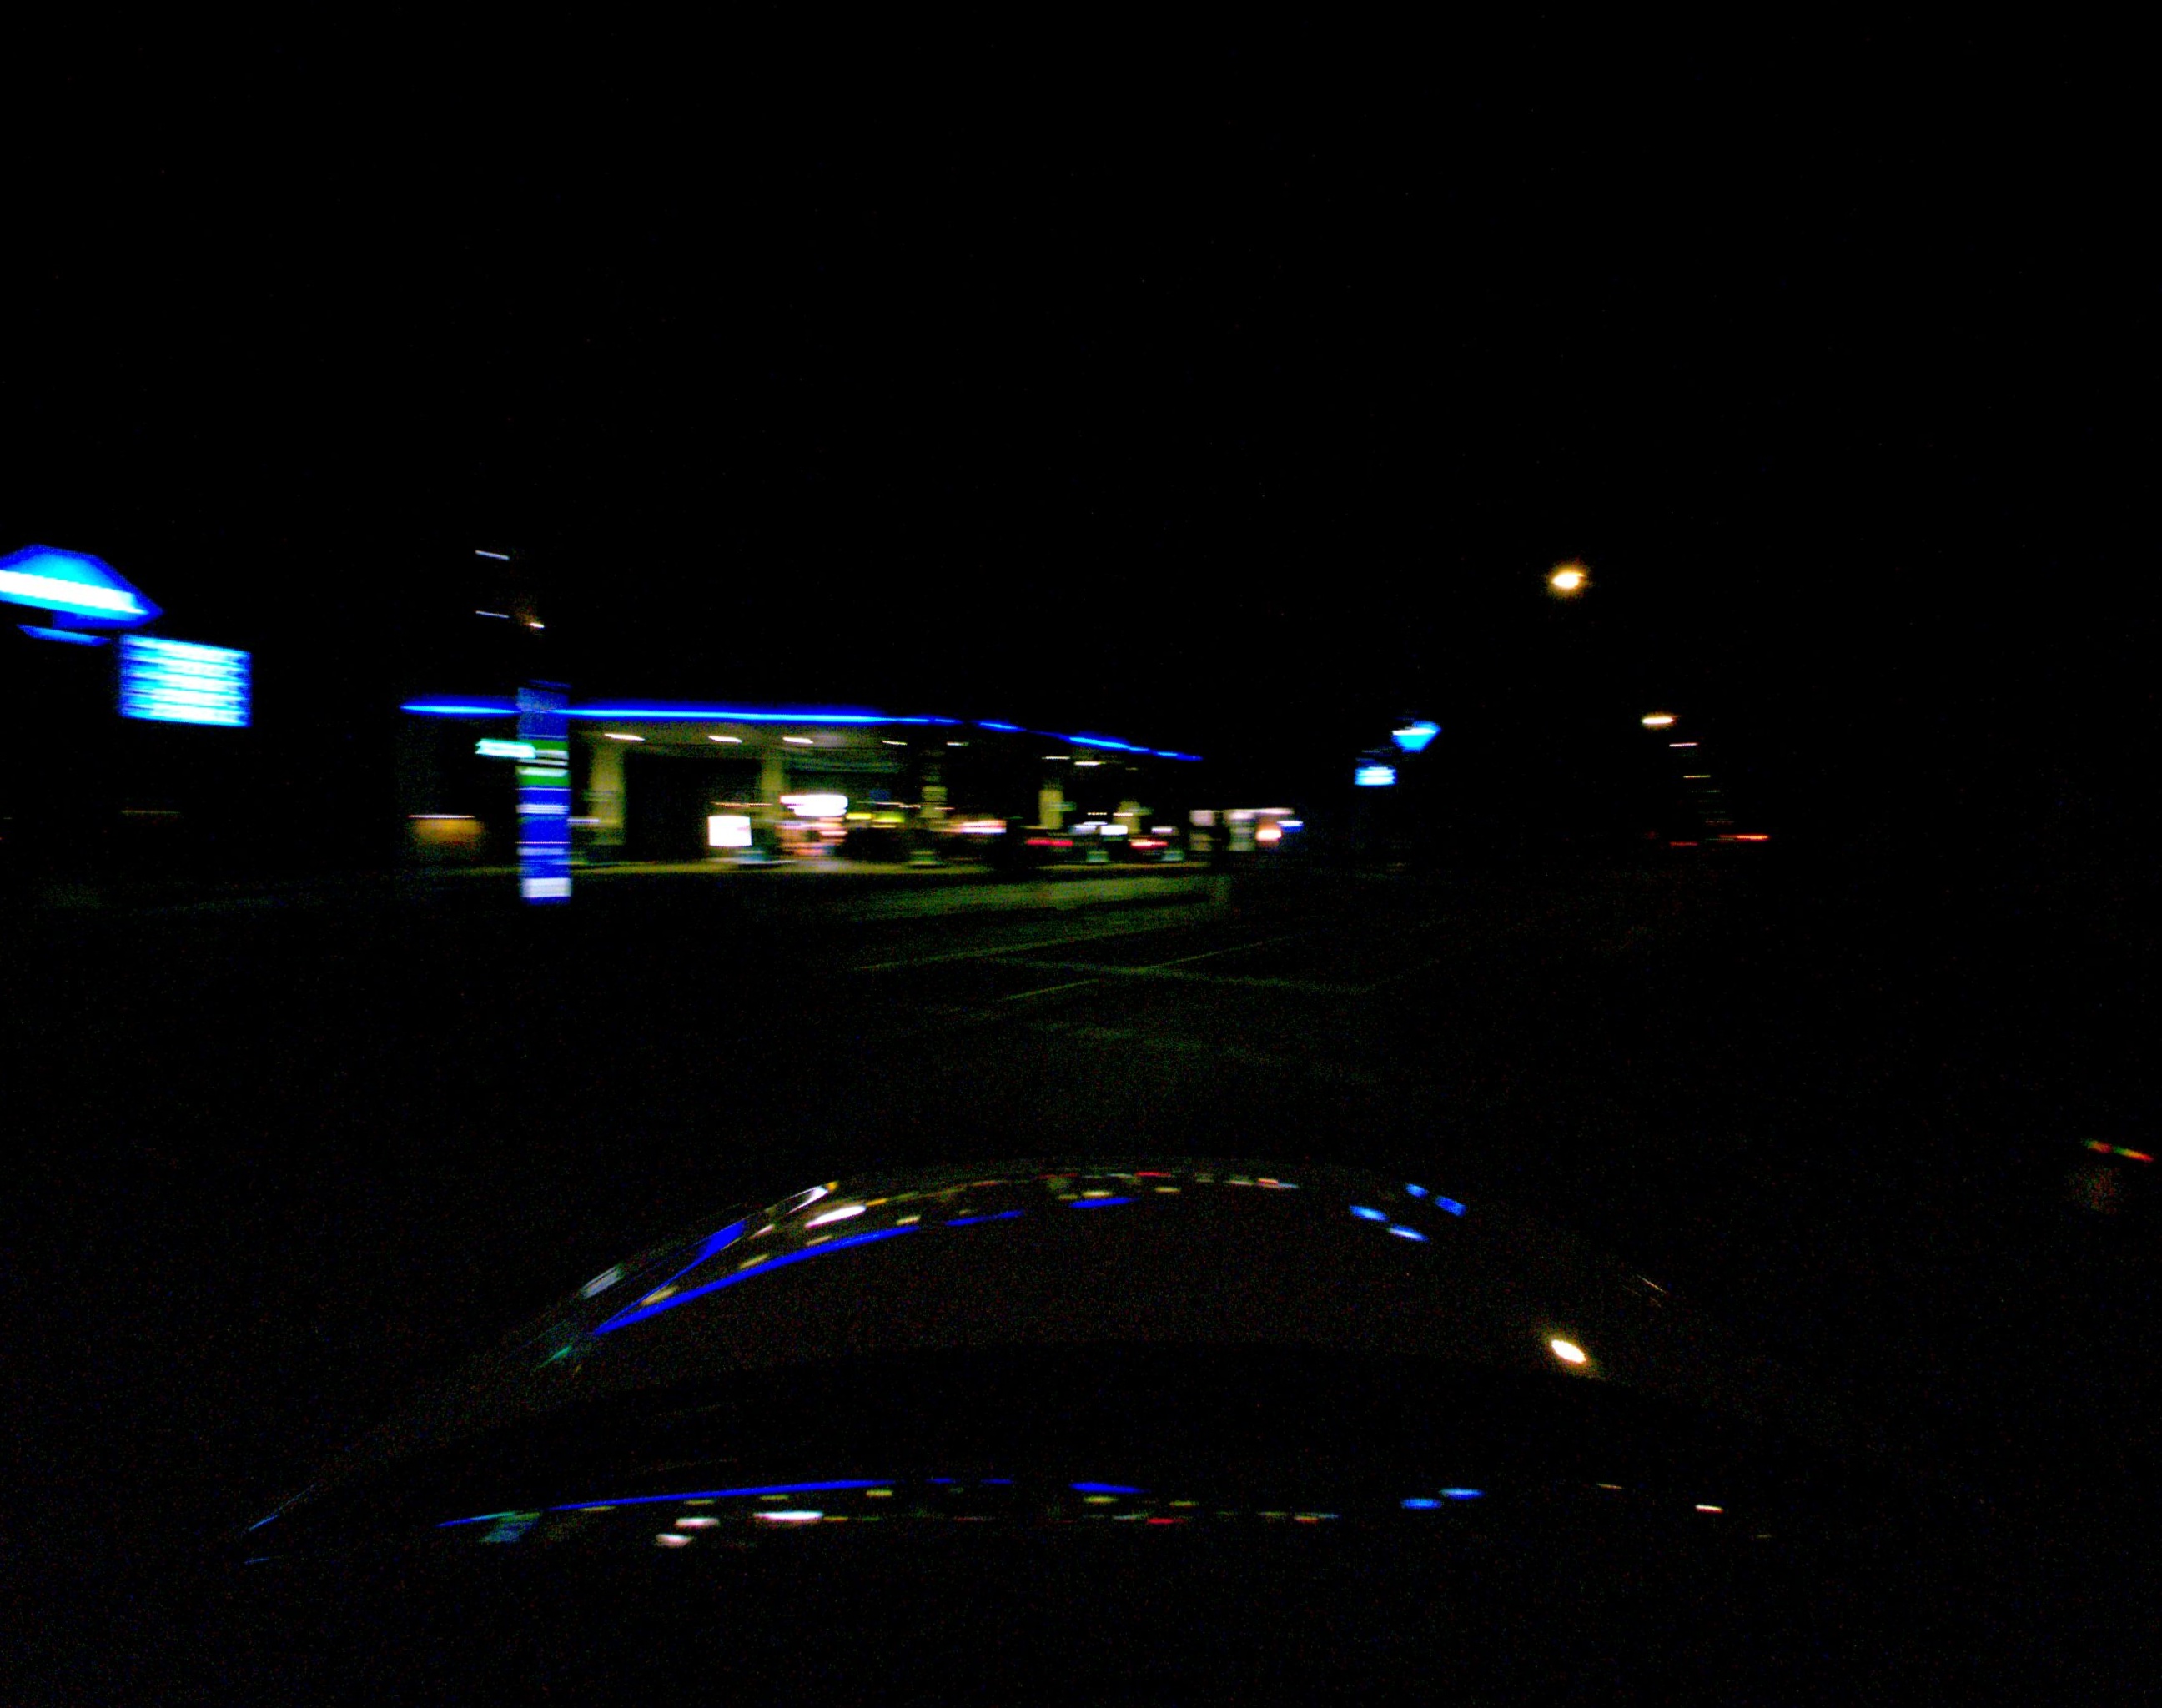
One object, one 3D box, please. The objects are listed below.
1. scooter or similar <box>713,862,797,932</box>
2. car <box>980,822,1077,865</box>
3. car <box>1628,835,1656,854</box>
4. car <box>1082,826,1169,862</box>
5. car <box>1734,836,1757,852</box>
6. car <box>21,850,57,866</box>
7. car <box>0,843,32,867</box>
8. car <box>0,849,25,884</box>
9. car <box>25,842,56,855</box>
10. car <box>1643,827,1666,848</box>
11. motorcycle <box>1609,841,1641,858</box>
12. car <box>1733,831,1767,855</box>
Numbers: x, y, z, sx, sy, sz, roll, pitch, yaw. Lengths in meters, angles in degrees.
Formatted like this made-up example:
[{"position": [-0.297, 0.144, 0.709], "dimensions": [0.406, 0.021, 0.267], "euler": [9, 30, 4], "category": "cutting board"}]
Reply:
[{"position": [-5.613, 0.706, 14.138], "dimensions": [0.711, 1.092, 1.682], "euler": [0, 1, 2], "category": "scooter or similar"}, {"position": [-2.446, -0.525, 37.156], "dimensions": [4.198, 1.768, 2.012], "euler": [4, 3, 42], "category": "car"}, {"position": [58.369, -0.969, 84.714], "dimensions": [1.974, 1.843, 4.025], "euler": [-1, 0, 40], "category": "car"}, {"position": [2.238, -0.540, 41.729], "dimensions": [3.949, 1.663, 2.013], "euler": [3, 2, 37], "category": "car"}, {"position": [85.906, -1.246, 105.266], "dimensions": [1.974, 2.013, 4.026], "euler": [-1, 0, 35], "category": "car"}, {"position": [-104.389, 0.392, 81.633], "dimensions": [3.949, 1.520, 2.012], "euler": [-1, 0, 41], "category": "car"}, {"position": [-67.634, 0.080, 51.121], "dimensions": [3.949, 1.520, 2.012], "euler": [-1, 0, 41], "category": "car"}, {"position": [-48.974, 0.551, 36.376], "dimensions": [3.949, 1.520, 2.012], "euler": [-1, 0, 41], "category": "car"}, {"position": [-122.138, -0.650, 95.605], "dimensions": [3.949, 1.520, 2.012], "euler": [-1, 0, 41], "category": "car"}, {"position": [68.700, -1.966, 97.548], "dimensions": [1.974, 2.415, 4.513], "euler": [-1, 0, 38], "category": "car"}, {"position": [45.426, -0.358, 68.024], "dimensions": [2.002, 1.392, 0.879], "euler": [-1, 0, 10], "category": "motorcycle"}, {"position": [58.806, -0.933, 71.612], "dimensions": [1.974, 2.013, 4.026], "euler": [-1, 0, 35], "category": "car"}]
